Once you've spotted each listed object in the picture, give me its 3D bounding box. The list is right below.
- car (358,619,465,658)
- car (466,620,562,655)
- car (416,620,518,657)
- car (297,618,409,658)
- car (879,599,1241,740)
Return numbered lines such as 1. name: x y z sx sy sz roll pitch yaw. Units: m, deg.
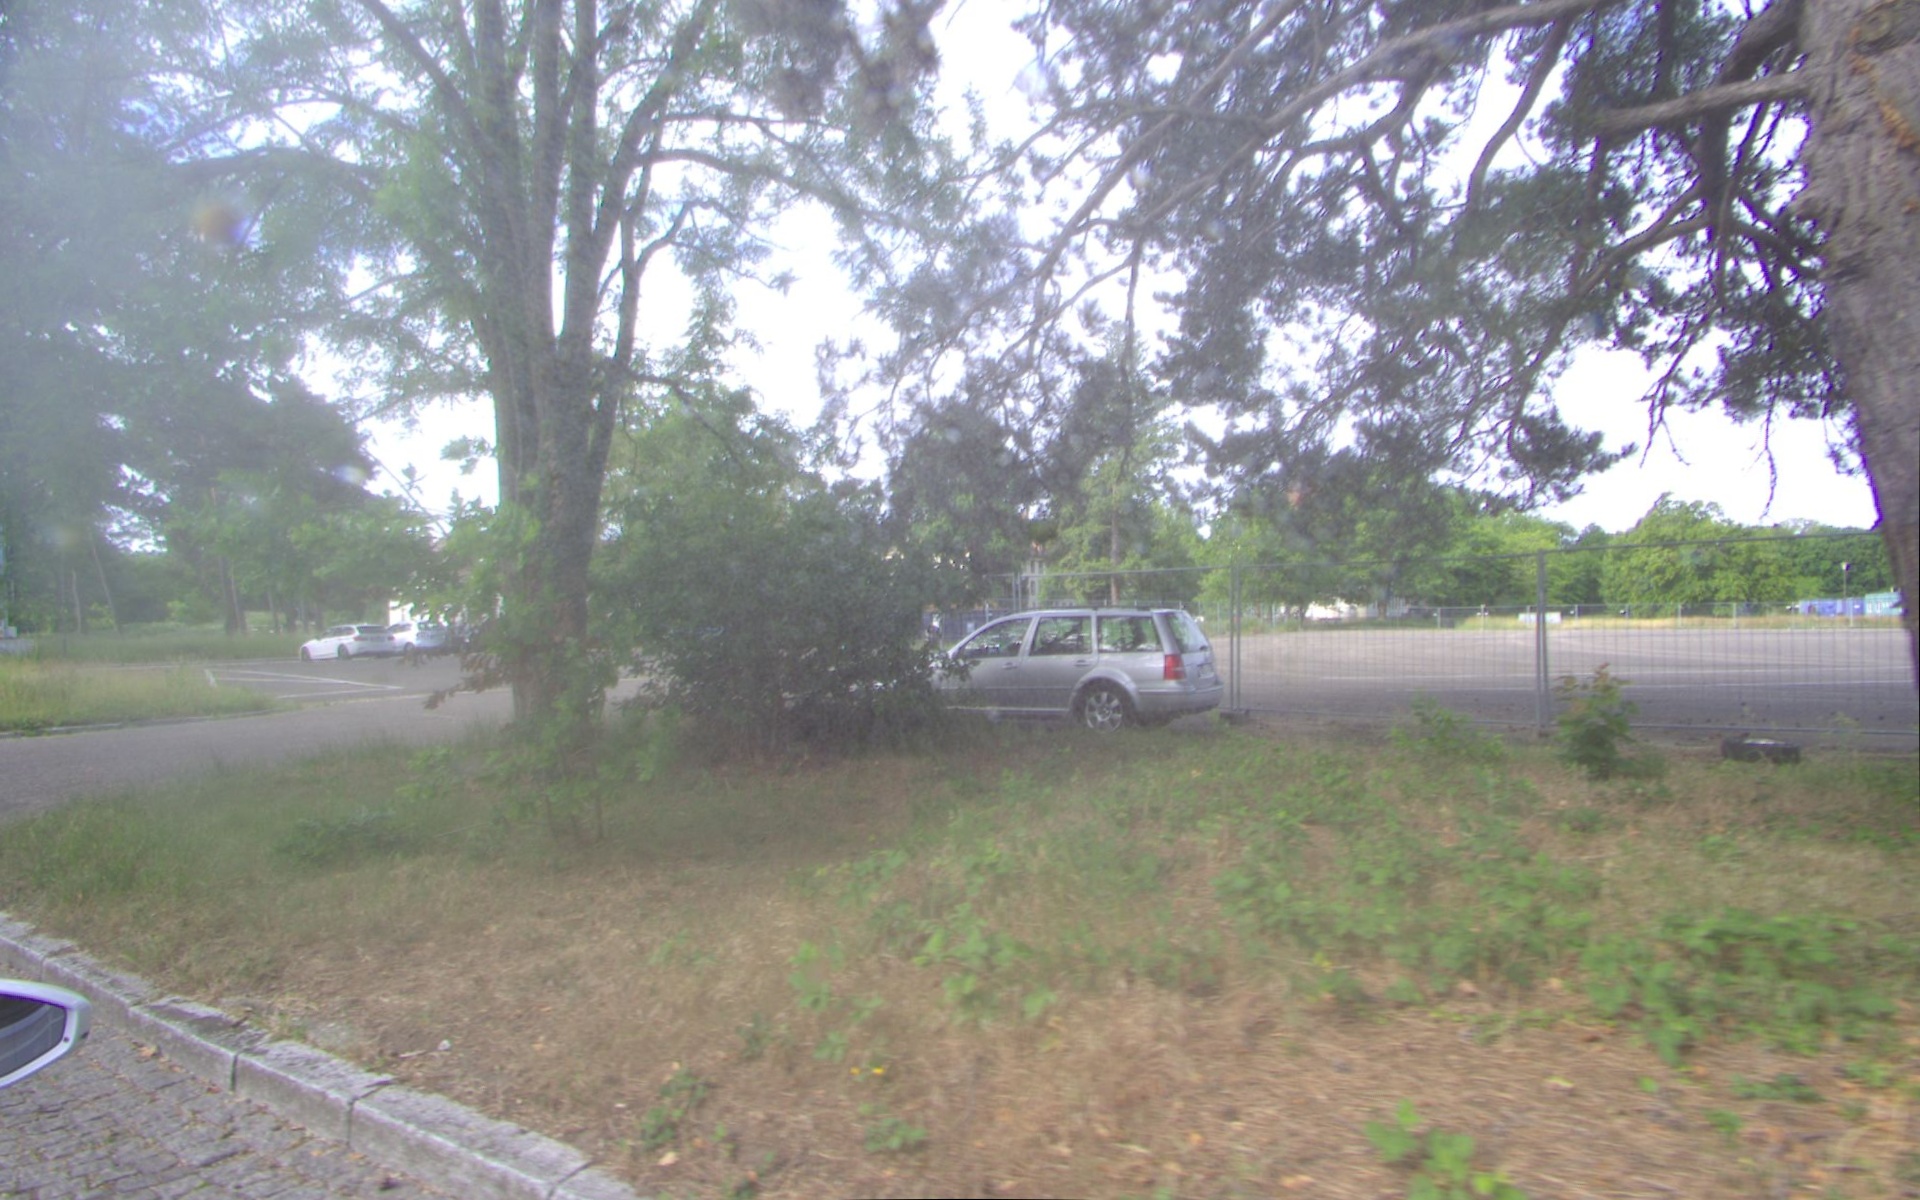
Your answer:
1. car: -23.505 1.639 42.907 4.359 1.500 1.991 -3 -2 29
2. car: -21.313 1.823 47.834 4.359 1.542 1.992 -3 -3 29
3. car: -22.333 1.739 45.321 4.359 1.500 1.991 -3 -2 29
4. car: -24.690 1.548 40.681 4.359 1.500 1.991 -3 -2 29
5. car: 1.137 0.796 12.000 4.014 1.444 1.645 -1 -4 31
